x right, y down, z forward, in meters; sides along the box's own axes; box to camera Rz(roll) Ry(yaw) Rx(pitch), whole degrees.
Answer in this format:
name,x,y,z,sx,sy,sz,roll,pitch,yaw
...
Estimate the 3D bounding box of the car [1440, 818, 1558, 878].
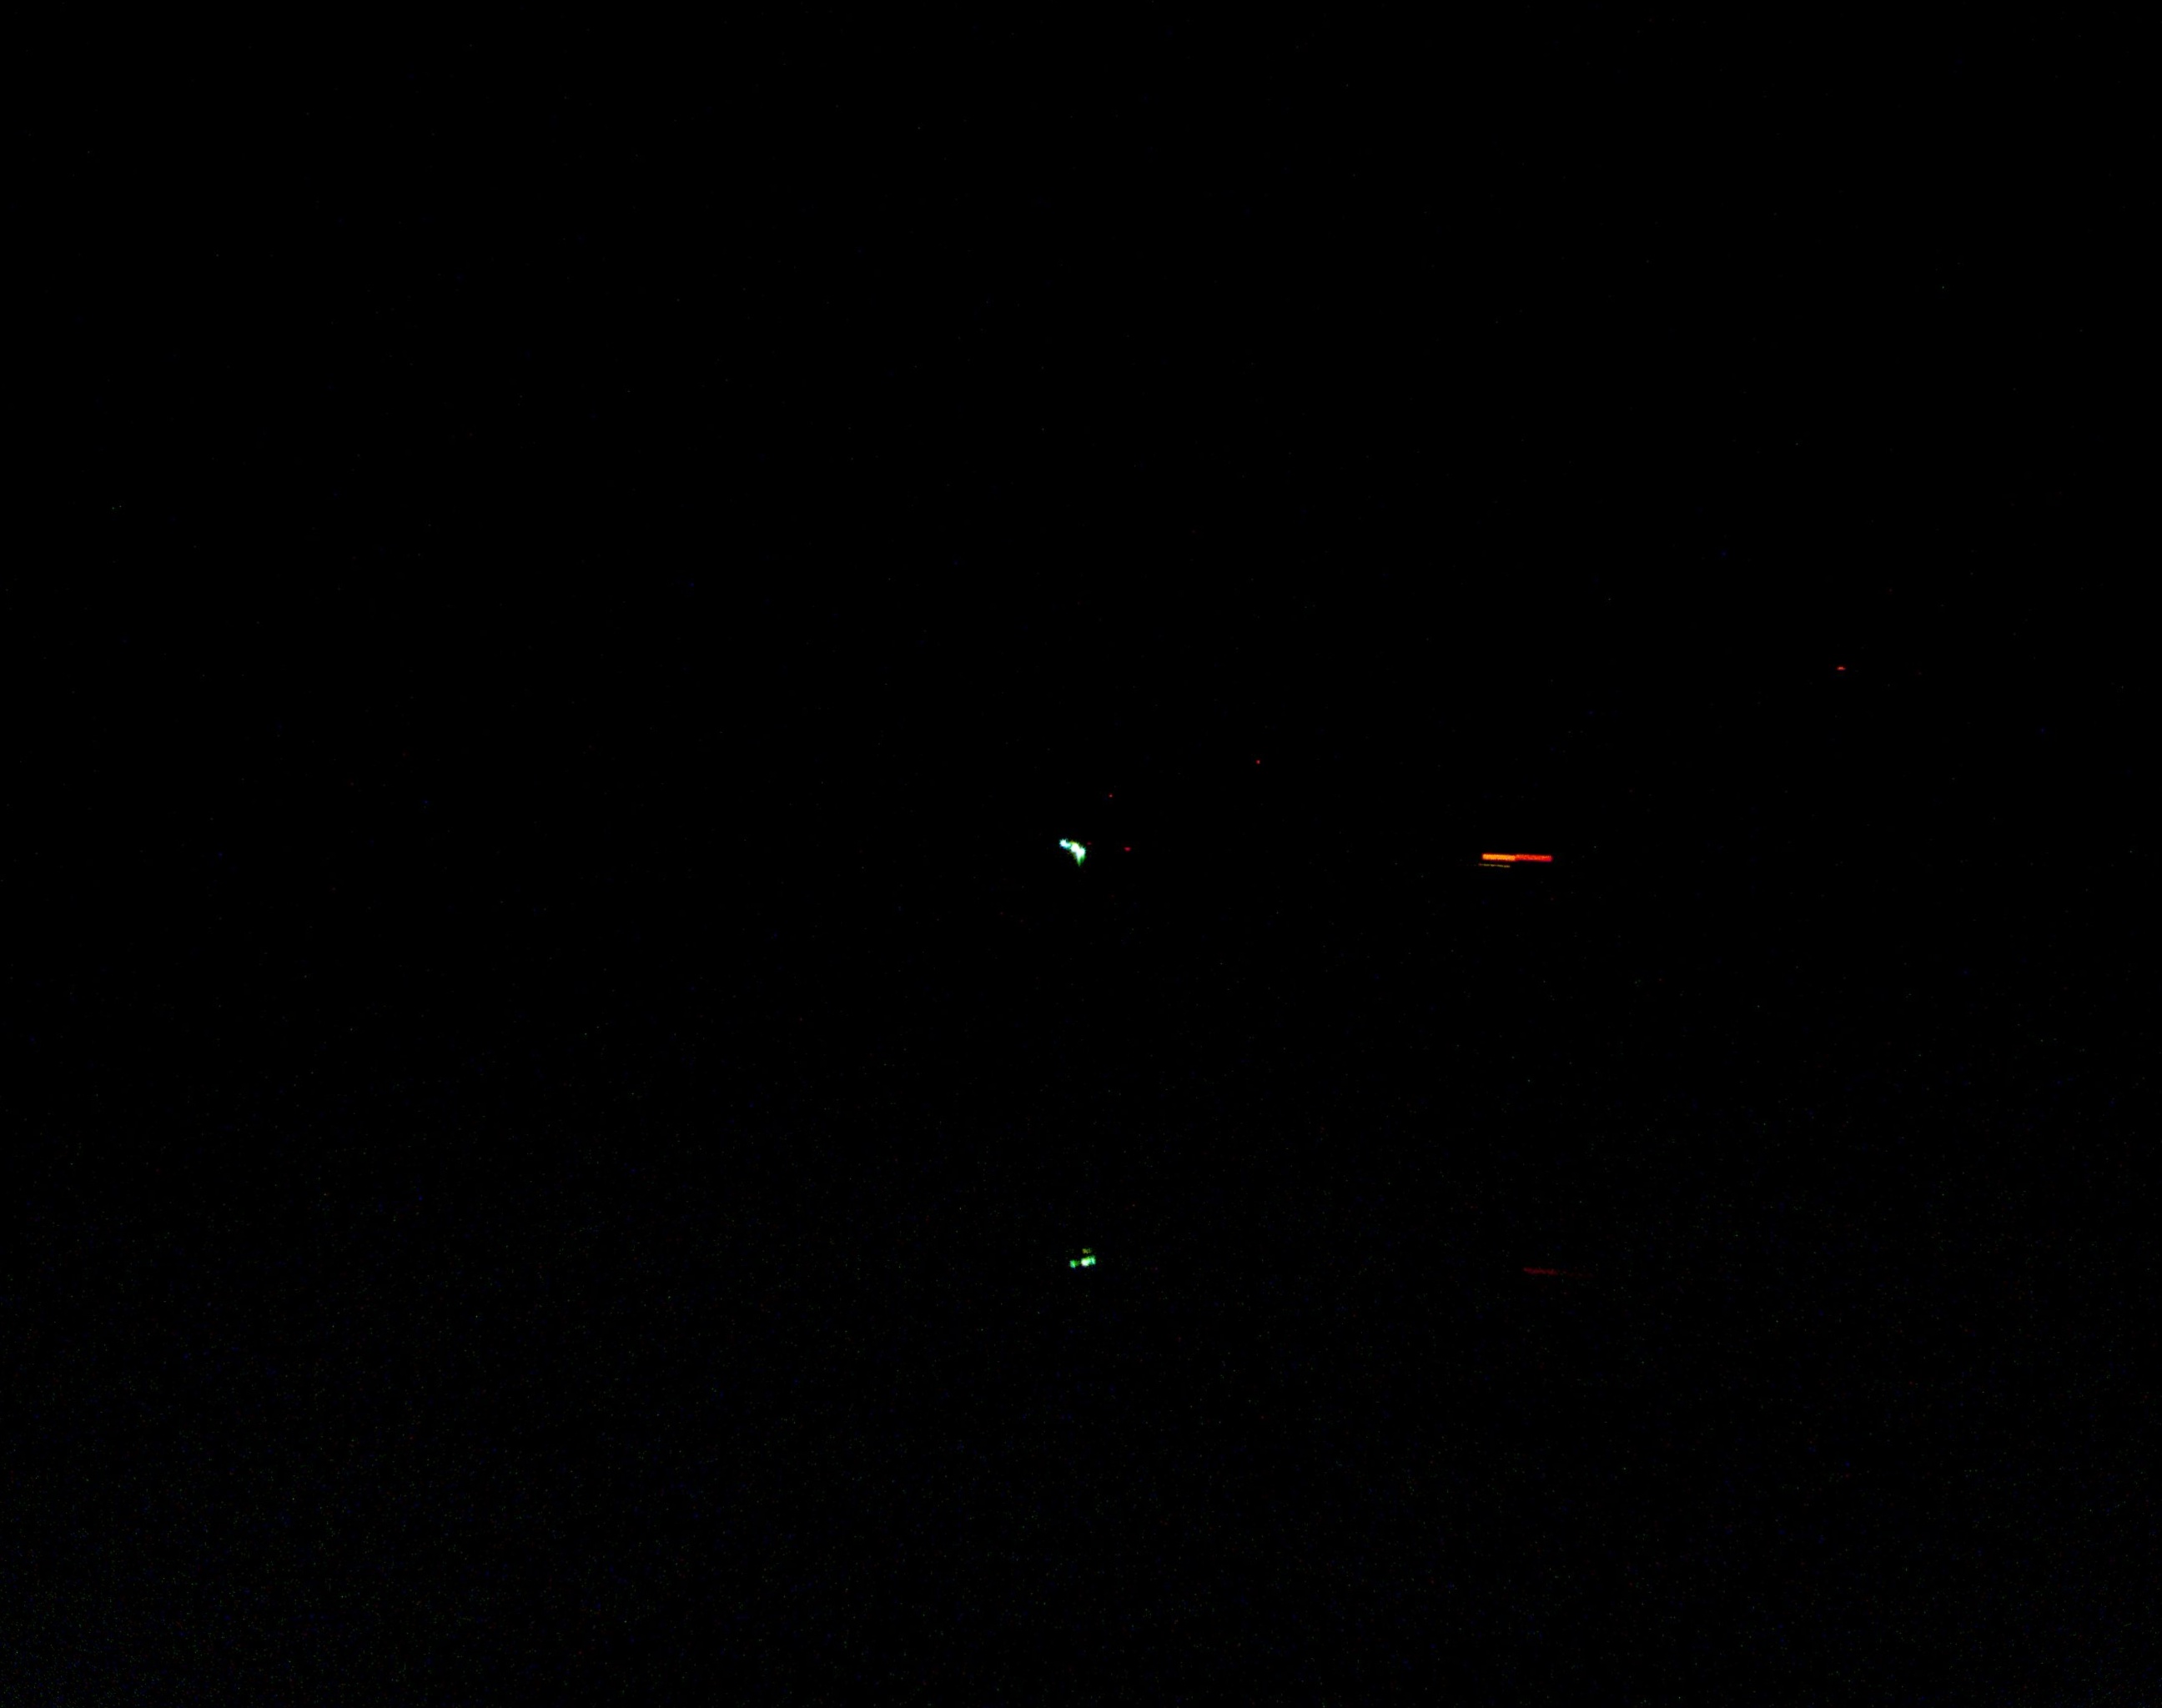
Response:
name,x,y,z,sx,sy,sz,roll,pitch,yaw
car,22.770,-0.360,41.867,2.853,2.921,6.601,-2,1,1
